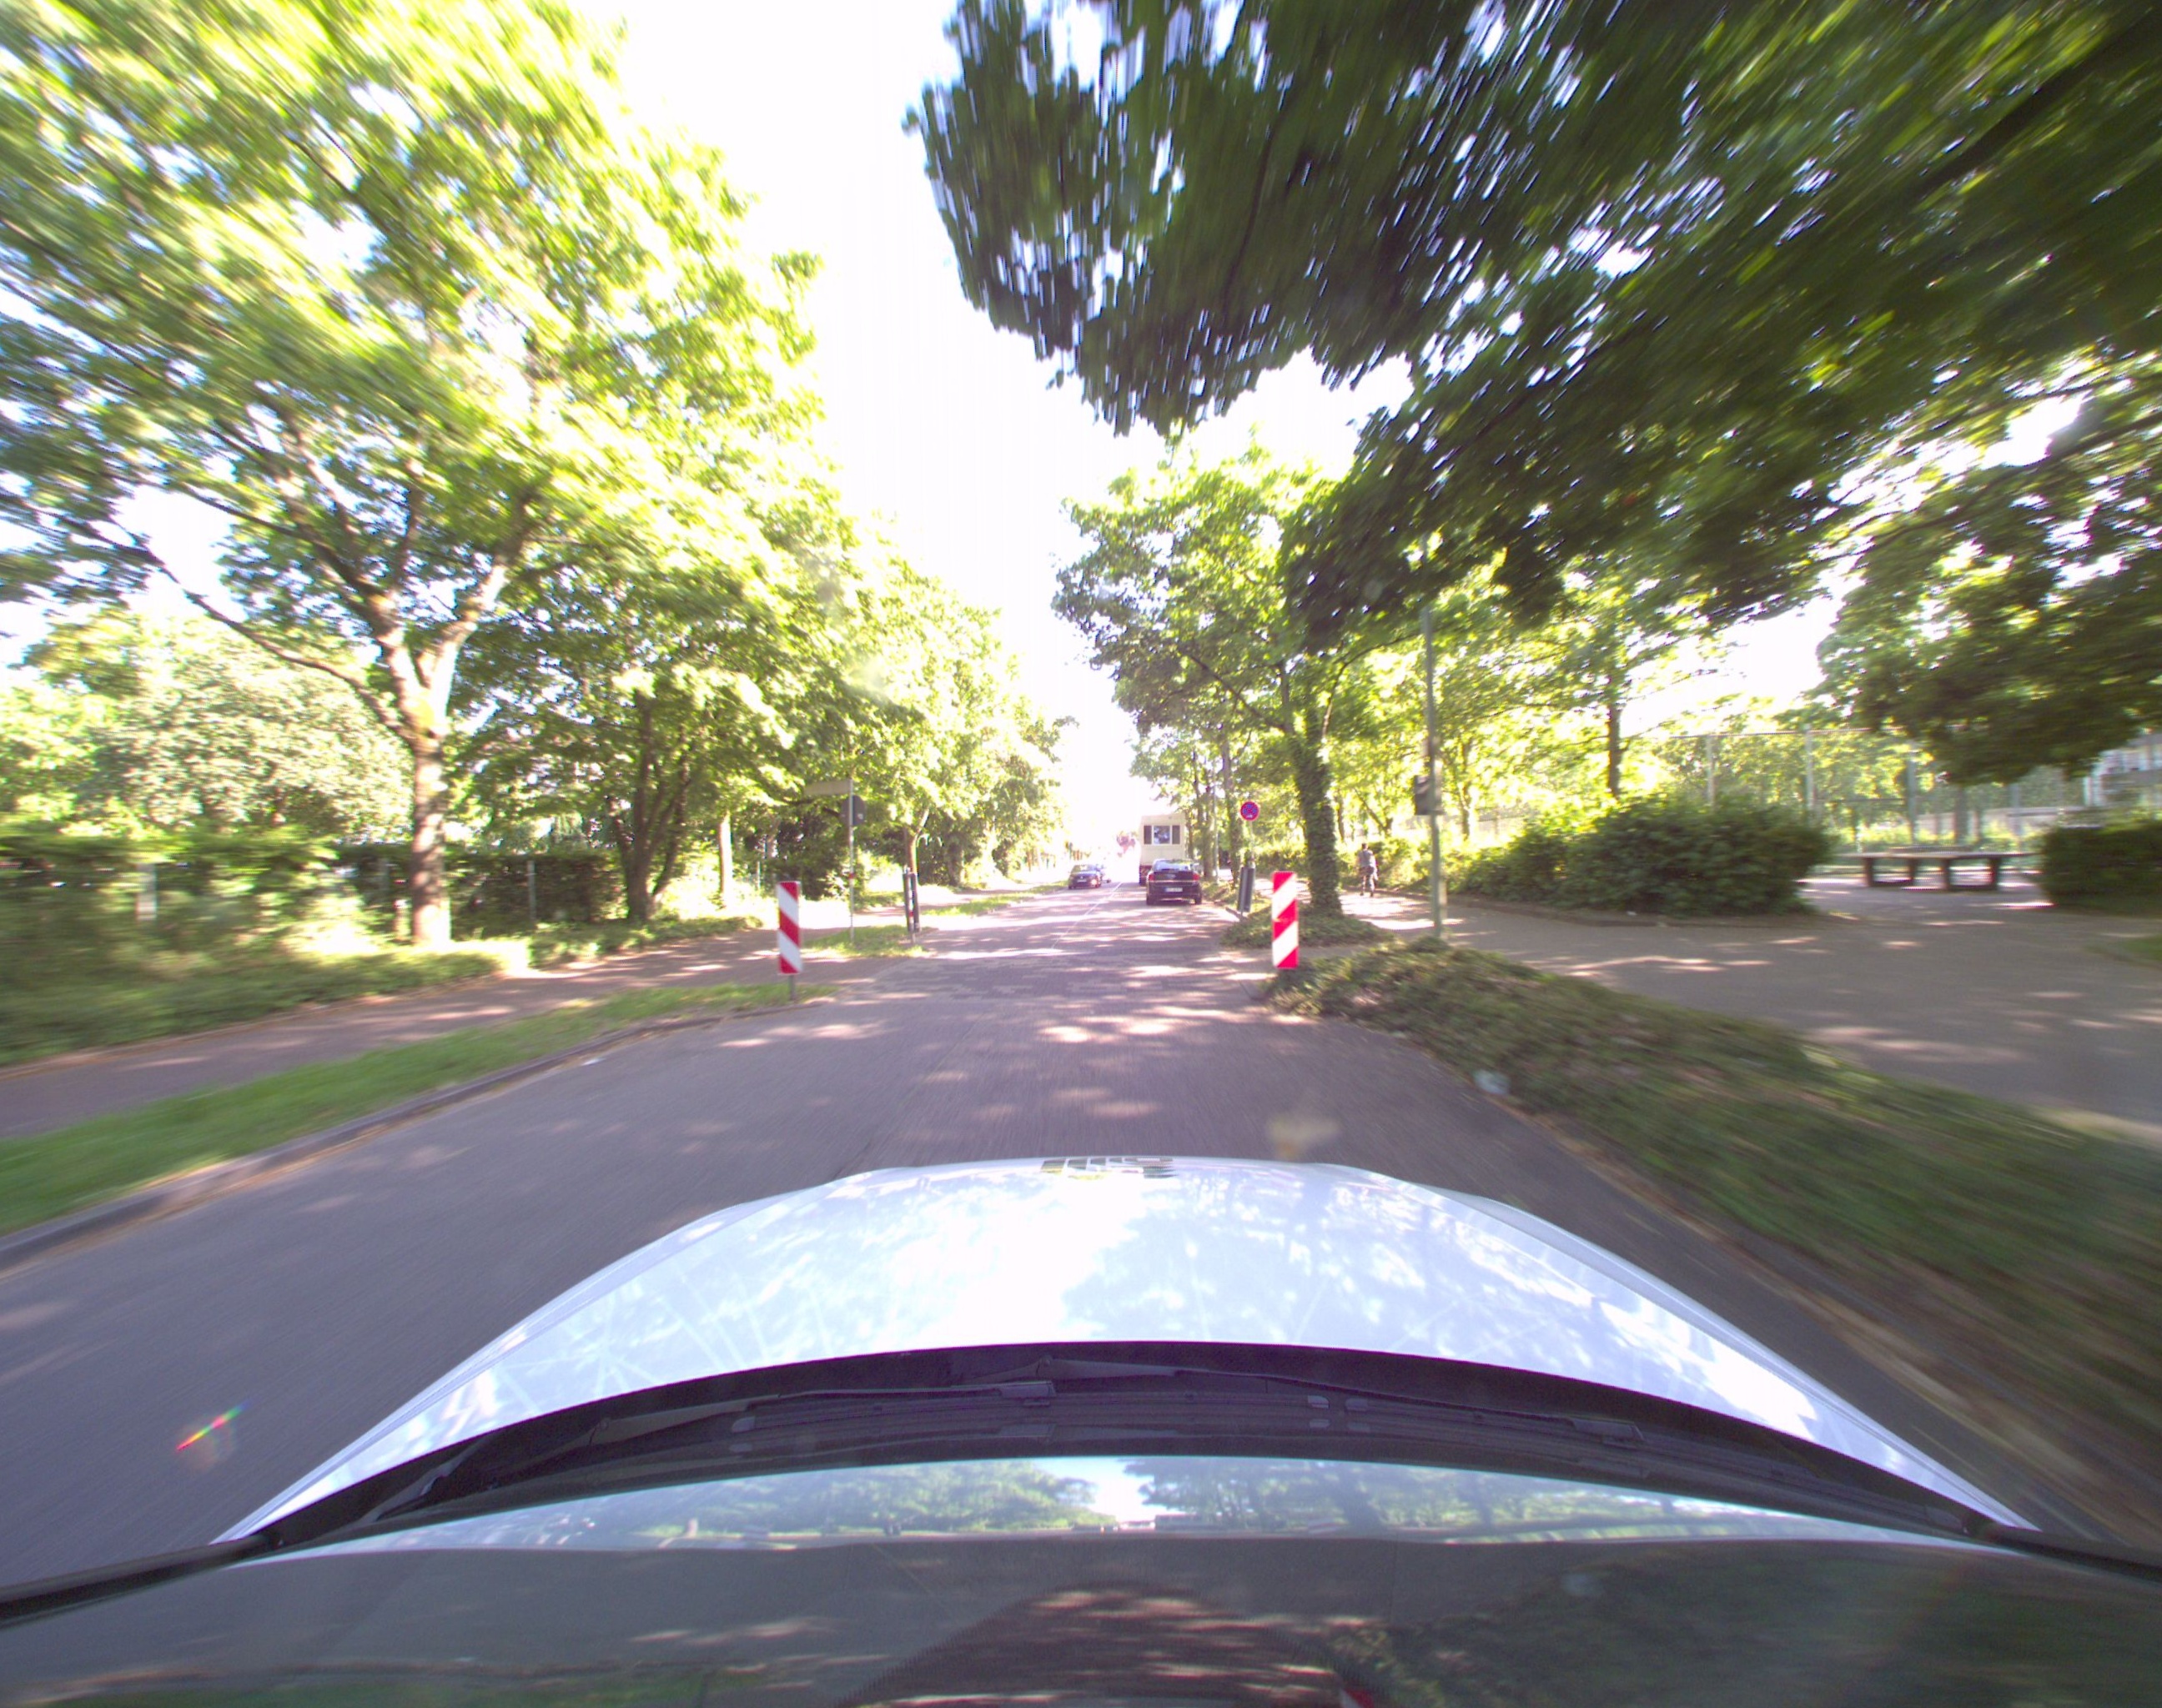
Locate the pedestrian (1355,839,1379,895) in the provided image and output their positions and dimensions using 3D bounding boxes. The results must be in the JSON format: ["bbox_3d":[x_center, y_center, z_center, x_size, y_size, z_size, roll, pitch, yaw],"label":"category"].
[{"bbox_3d":[8.492,0.383,24.207,0.567,1.608,0.673,-1,-1,14],"label":"pedestrian"}]

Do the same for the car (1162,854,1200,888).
[{"bbox_3d":[4.778,0.779,38.936,1.631,1.420,4.007,-3,0,7],"label":"car"}]

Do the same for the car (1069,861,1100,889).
[{"bbox_3d":[0.229,1.152,46.143,1.595,1.426,3.654,-3,0,2],"label":"car"}]

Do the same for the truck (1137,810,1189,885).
[{"bbox_3d":[4.737,-0.336,48.791,2.760,3.996,10.359,0,0,4],"label":"truck"}]

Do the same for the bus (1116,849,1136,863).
[{"bbox_3d":[11.344,0.494,203.883,4.044,3.349,9.819,-3,0,7],"label":"bus"}]

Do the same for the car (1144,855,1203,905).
[{"bbox_3d":[3.023,0.817,26.682,1.739,1.480,4.037,-1,-1,6],"label":"car"}]

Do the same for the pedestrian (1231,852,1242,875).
[{"bbox_3d":[12.862,0.789,67.536,0.695,1.812,0.700,-3,-1,1],"label":"pedestrian"}]

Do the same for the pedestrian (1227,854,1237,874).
[{"bbox_3d":[12.509,0.798,67.532,0.596,1.611,0.600,-3,-1,1],"label":"pedestrian"}]

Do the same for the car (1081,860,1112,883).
[{"bbox_3d":[1.132,1.207,56.790,1.746,1.454,4.250,-3,0,6],"label":"car"}]
